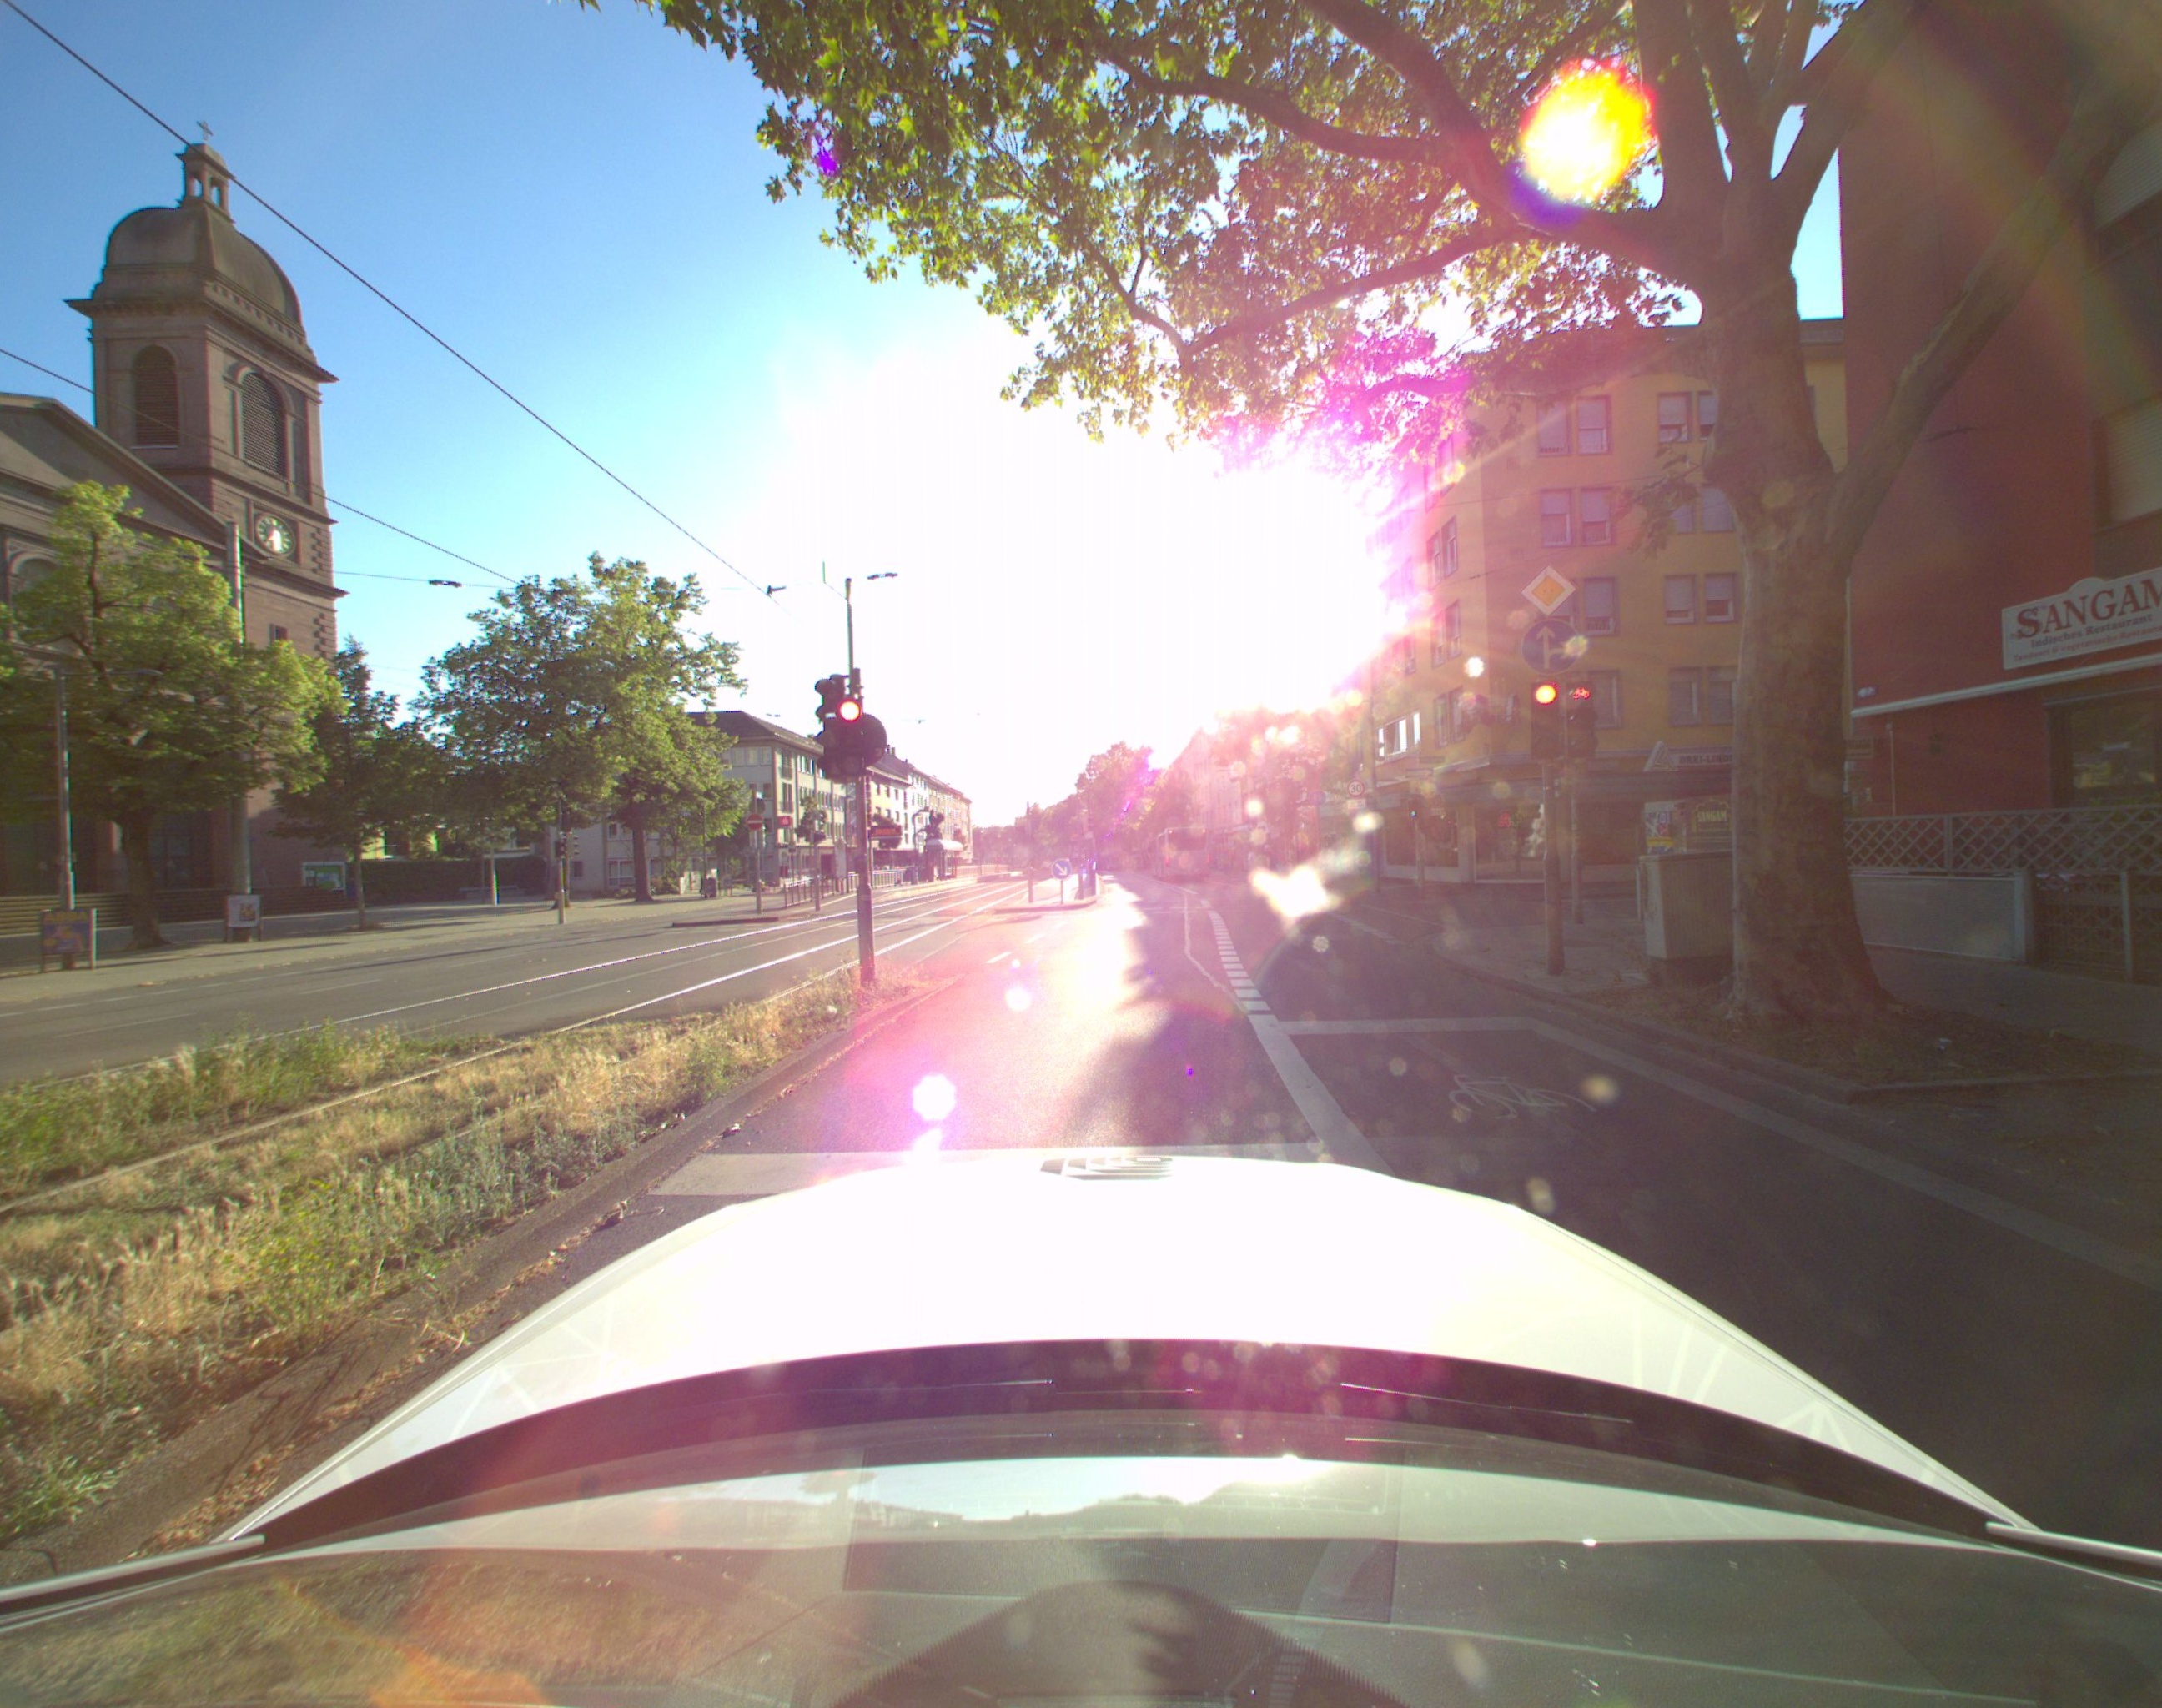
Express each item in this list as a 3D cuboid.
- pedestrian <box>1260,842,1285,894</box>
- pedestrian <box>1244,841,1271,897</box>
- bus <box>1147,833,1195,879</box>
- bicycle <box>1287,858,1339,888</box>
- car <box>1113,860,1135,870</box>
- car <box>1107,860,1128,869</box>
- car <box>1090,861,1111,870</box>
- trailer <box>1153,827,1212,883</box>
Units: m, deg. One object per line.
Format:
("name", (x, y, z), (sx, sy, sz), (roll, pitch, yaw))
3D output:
("pedestrian", (6.591, 0.480, 28.057), (0.677, 1.770, 0.687), (-2, 0, 2))
("pedestrian", (5.637, 0.475, 26.078), (0.677, 1.770, 0.687), (-2, 0, 2))
("bus", (6.397, 0.151, 59.008), (2.801, 3.101, 9.097), (0, 0, 2))
("bicycle", (8.896, 0.722, 31.245), (1.766, 1.021, 0.694), (-4, -1, 1))
("car", (8.383, 2.115, 158.615), (3.911, 1.699, 1.817), (-2, 0, -27))
("car", (7.244, 2.073, 161.379), (3.911, 1.699, 1.817), (-2, 0, -27))
("car", (4.055, 2.389, 166.535), (3.911, 1.596, 1.676), (-2, 0, -27))
("trailer", (6.105, 0.084, 50.055), (2.801, 3.110, 8.797), (0, 0, 2))
